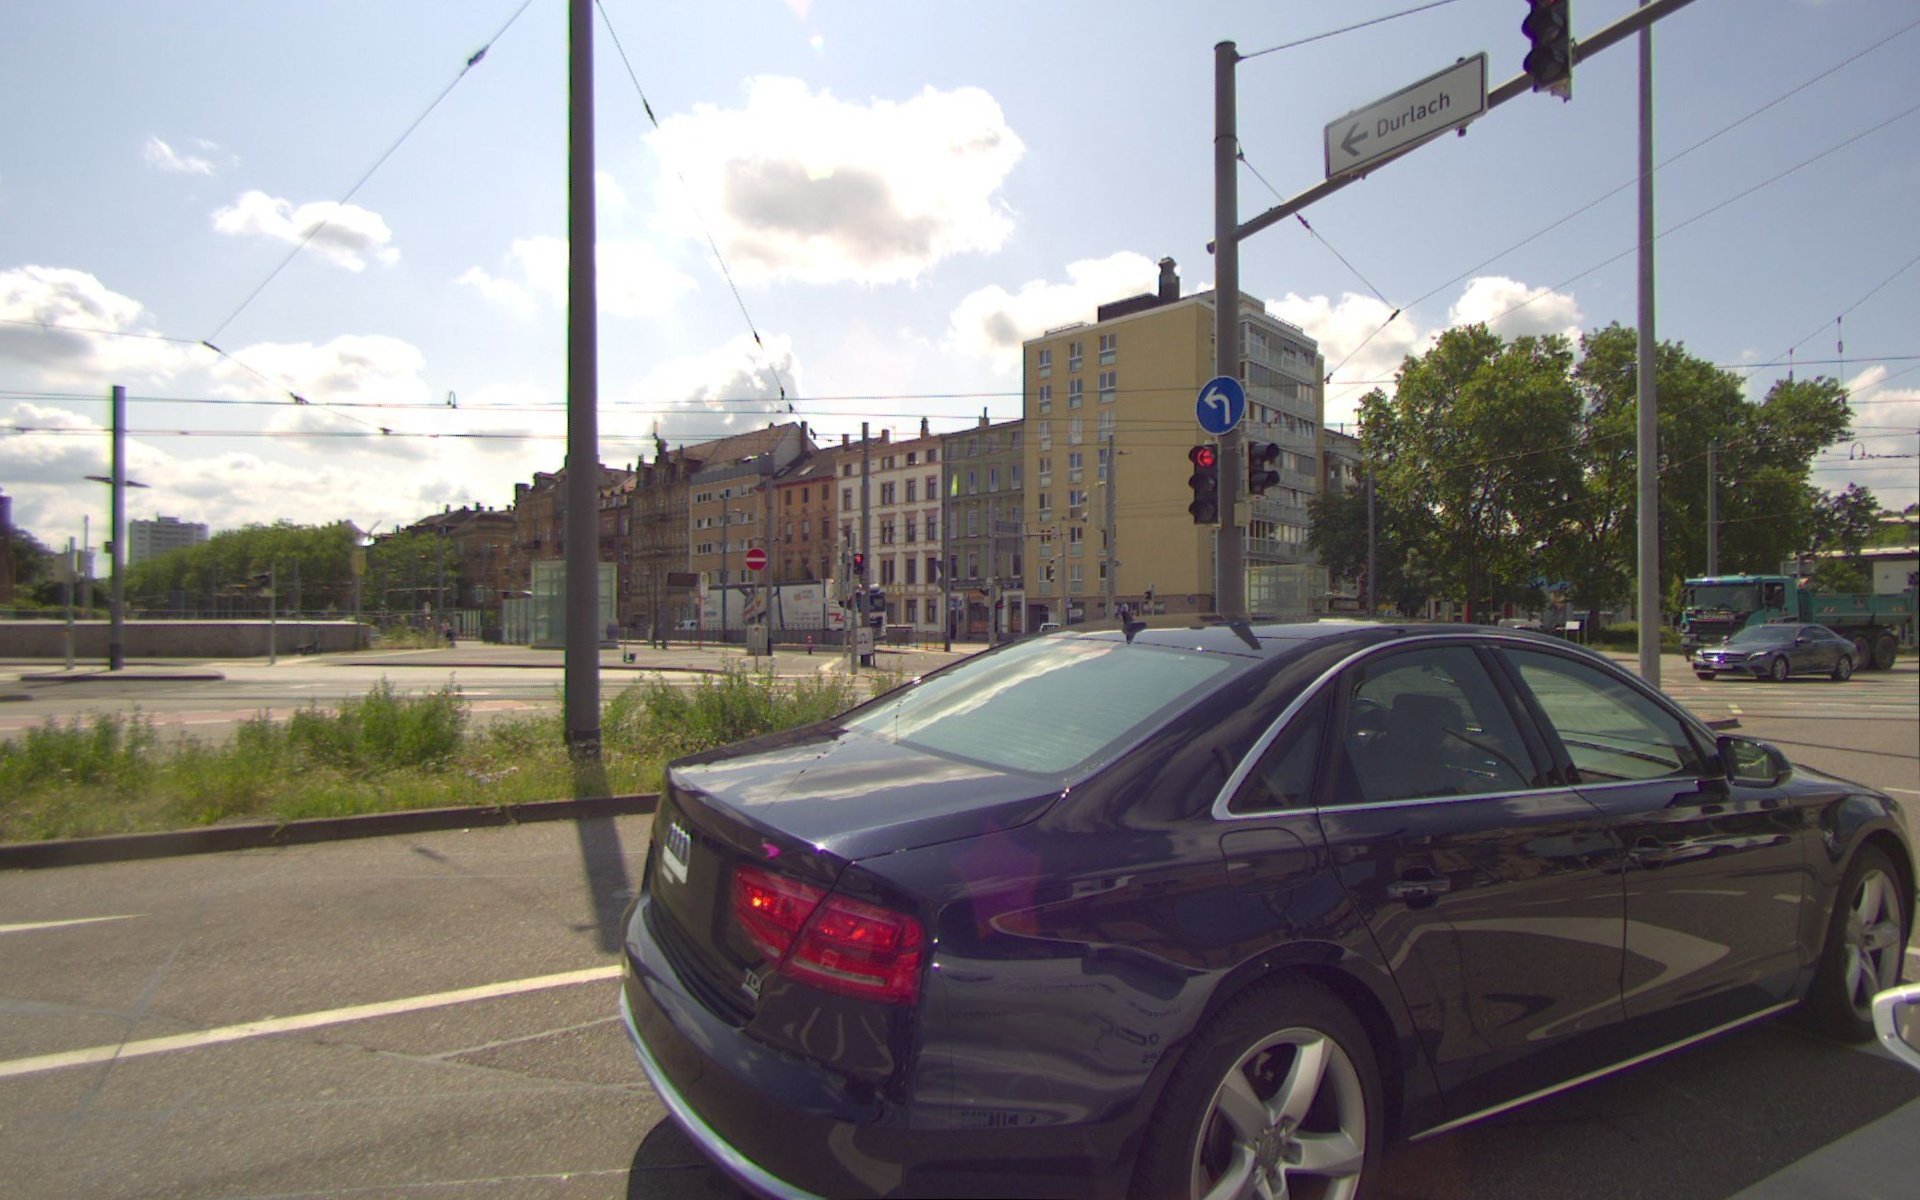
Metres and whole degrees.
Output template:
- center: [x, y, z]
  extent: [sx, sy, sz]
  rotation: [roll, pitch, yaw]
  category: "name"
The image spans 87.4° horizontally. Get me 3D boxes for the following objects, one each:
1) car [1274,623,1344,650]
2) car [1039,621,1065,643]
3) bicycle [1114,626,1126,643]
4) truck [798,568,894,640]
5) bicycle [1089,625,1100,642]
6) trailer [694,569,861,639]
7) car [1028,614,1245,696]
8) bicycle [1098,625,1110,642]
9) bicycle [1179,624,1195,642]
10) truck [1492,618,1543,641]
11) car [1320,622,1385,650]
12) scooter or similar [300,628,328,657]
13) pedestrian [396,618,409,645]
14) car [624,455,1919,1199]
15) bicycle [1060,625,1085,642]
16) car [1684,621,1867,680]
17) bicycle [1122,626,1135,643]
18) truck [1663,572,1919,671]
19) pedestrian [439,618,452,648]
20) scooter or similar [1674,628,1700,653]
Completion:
- center: [23.518, 2.451, 67.687]
  extent: [4.061, 1.687, 1.857]
  rotation: [1, -1, 45]
  category: "car"
- center: [5.923, 2.058, 64.794]
  extent: [1.625, 1.338, 3.358]
  rotation: [0, -1, 5]
  category: "car"
- center: [11.238, 2.402, 70.507]
  extent: [0.501, 1.162, 2.135]
  rotation: [2, -1, 0]
  category: "bicycle"
- center: [-6.758, 0.261, 59.048]
  extent: [5.373, 4.021, 2.693]
  rotation: [1, -1, 43]
  category: "truck"
- center: [9.603, 2.408, 71.909]
  extent: [0.501, 1.162, 2.135]
  rotation: [2, -1, 0]
  category: "bicycle"
- center: [-11.957, 0.194, 64.002]
  extent: [13.847, 4.021, 2.693]
  rotation: [1, -1, 43]
  category: "trailer"
- center: [3.543, 1.054, 20.028]
  extent: [4.098, 1.488, 1.648]
  rotation: [1, -1, -26]
  category: "car"
- center: [10.246, 2.372, 71.498]
  extent: [0.501, 1.162, 2.135]
  rotation: [2, -1, 0]
  category: "bicycle"
- center: [15.261, 2.191, 67.551]
  extent: [0.502, 1.162, 2.134]
  rotation: [2, -1, -3]
  category: "bicycle"
- center: [52.482, 2.773, 94.517]
  extent: [4.716, 2.148, 1.798]
  rotation: [1, -1, -26]
  category: "truck"
- center: [29.517, 2.696, 75.616]
  extent: [4.055, 1.883, 1.972]
  rotation: [1, -1, 45]
  category: "car"
- center: [-25.717, 1.678, 39.980]
  extent: [0.238, 1.104, 1.131]
  rotation: [2, -1, 8]
  category: "scooter or similar"
- center: [-37.744, 2.149, 68.015]
  extent: [0.609, 1.816, 0.525]
  rotation: [2, -1, -23]
  category: "pedestrian"
- center: [1.453, 0.659, 3.515]
  extent: [4.734, 1.663, 1.920]
  rotation: [1, -1, -29]
  category: "car"
- center: [8.249, 2.484, 73.858]
  extent: [0.523, 1.162, 1.923]
  rotation: [2, -1, -41]
  category: "bicycle"
- center: [20.764, 1.251, 25.552]
  extent: [4.708, 1.410, 1.649]
  rotation: [1, -1, -24]
  category: "car"
- center: [11.781, 2.411, 70.248]
  extent: [0.501, 1.162, 2.135]
  rotation: [2, -1, 0]
  category: "bicycle"
- center: [26.860, 0.704, 32.055]
  extent: [8.660, 2.890, 2.881]
  rotation: [1, -1, -21]
  category: "truck"
- center: [-31.646, 2.038, 61.836]
  extent: [0.609, 1.816, 0.525]
  rotation: [2, -1, -23]
  category: "pedestrian"
- center: [34.371, 1.917, 47.487]
  extent: [1.076, 1.130, 0.378]
  rotation: [2, -1, -12]
  category: "scooter or similar"
